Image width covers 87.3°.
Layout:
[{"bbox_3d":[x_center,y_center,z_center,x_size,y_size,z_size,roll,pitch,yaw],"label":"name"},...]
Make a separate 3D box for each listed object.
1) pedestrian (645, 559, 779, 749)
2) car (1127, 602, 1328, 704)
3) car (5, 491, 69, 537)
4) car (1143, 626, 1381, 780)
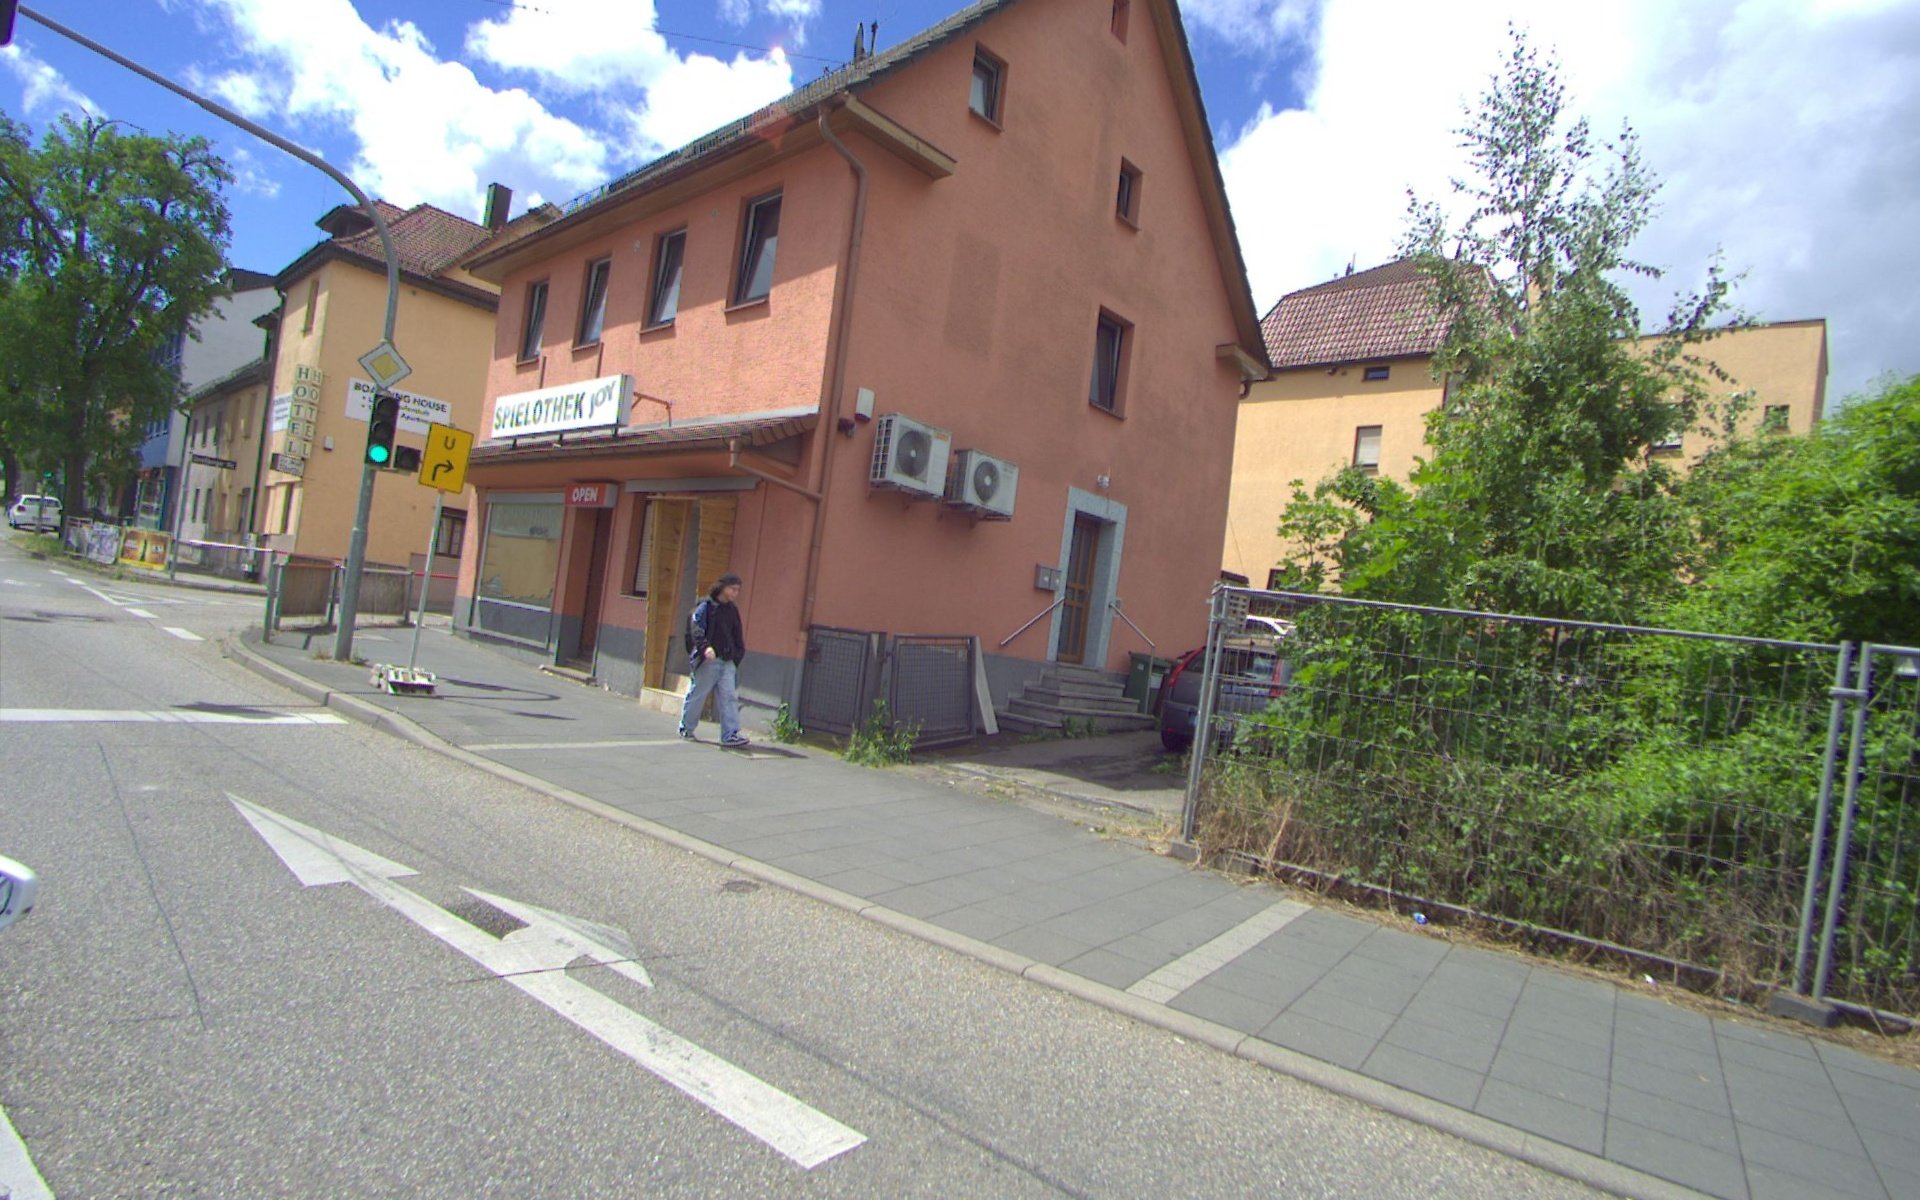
[{"bbox_3d":[-2.359,0.514,9.579,0.767,1.663,0.762,9,1,43],"label":"pedestrian"},{"bbox_3d":[6.215,1.221,23.636,3.947,1.804,1.990,7,-1,44],"label":"car"},{"bbox_3d":[-39.531,-3.681,43.077,1.782,1.615,3.950,7,-1,-45],"label":"car"},{"bbox_3d":[3.797,1.199,12.470,1.627,1.516,2.796,7,2,43],"label":"car"}]
